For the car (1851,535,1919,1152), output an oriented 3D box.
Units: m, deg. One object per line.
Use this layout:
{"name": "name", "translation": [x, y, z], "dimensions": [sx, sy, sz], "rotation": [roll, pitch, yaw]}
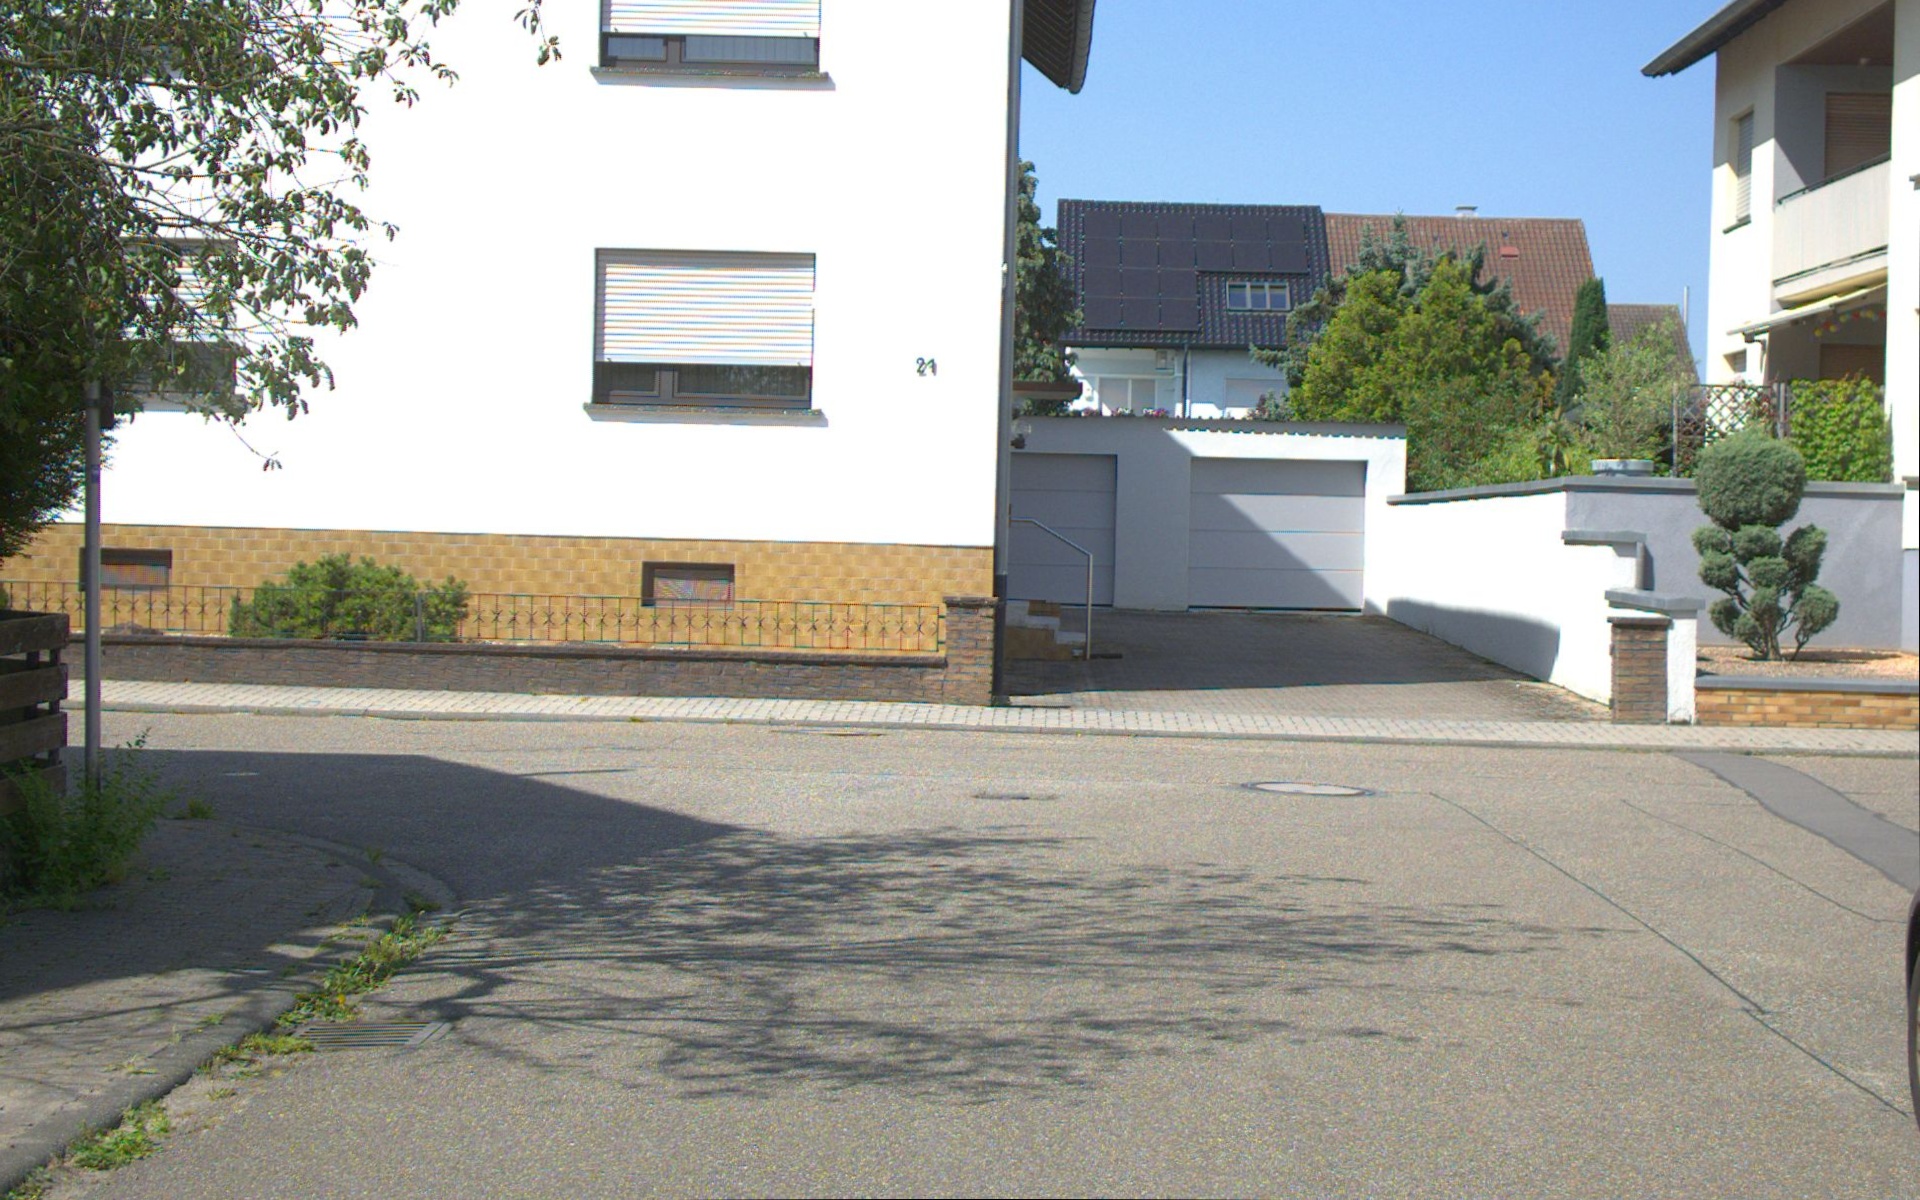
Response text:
{"name": "car", "translation": [3.275, 0.695, 7.219], "dimensions": [1.645, 1.540, 4.048], "rotation": [3, 1, 0]}
